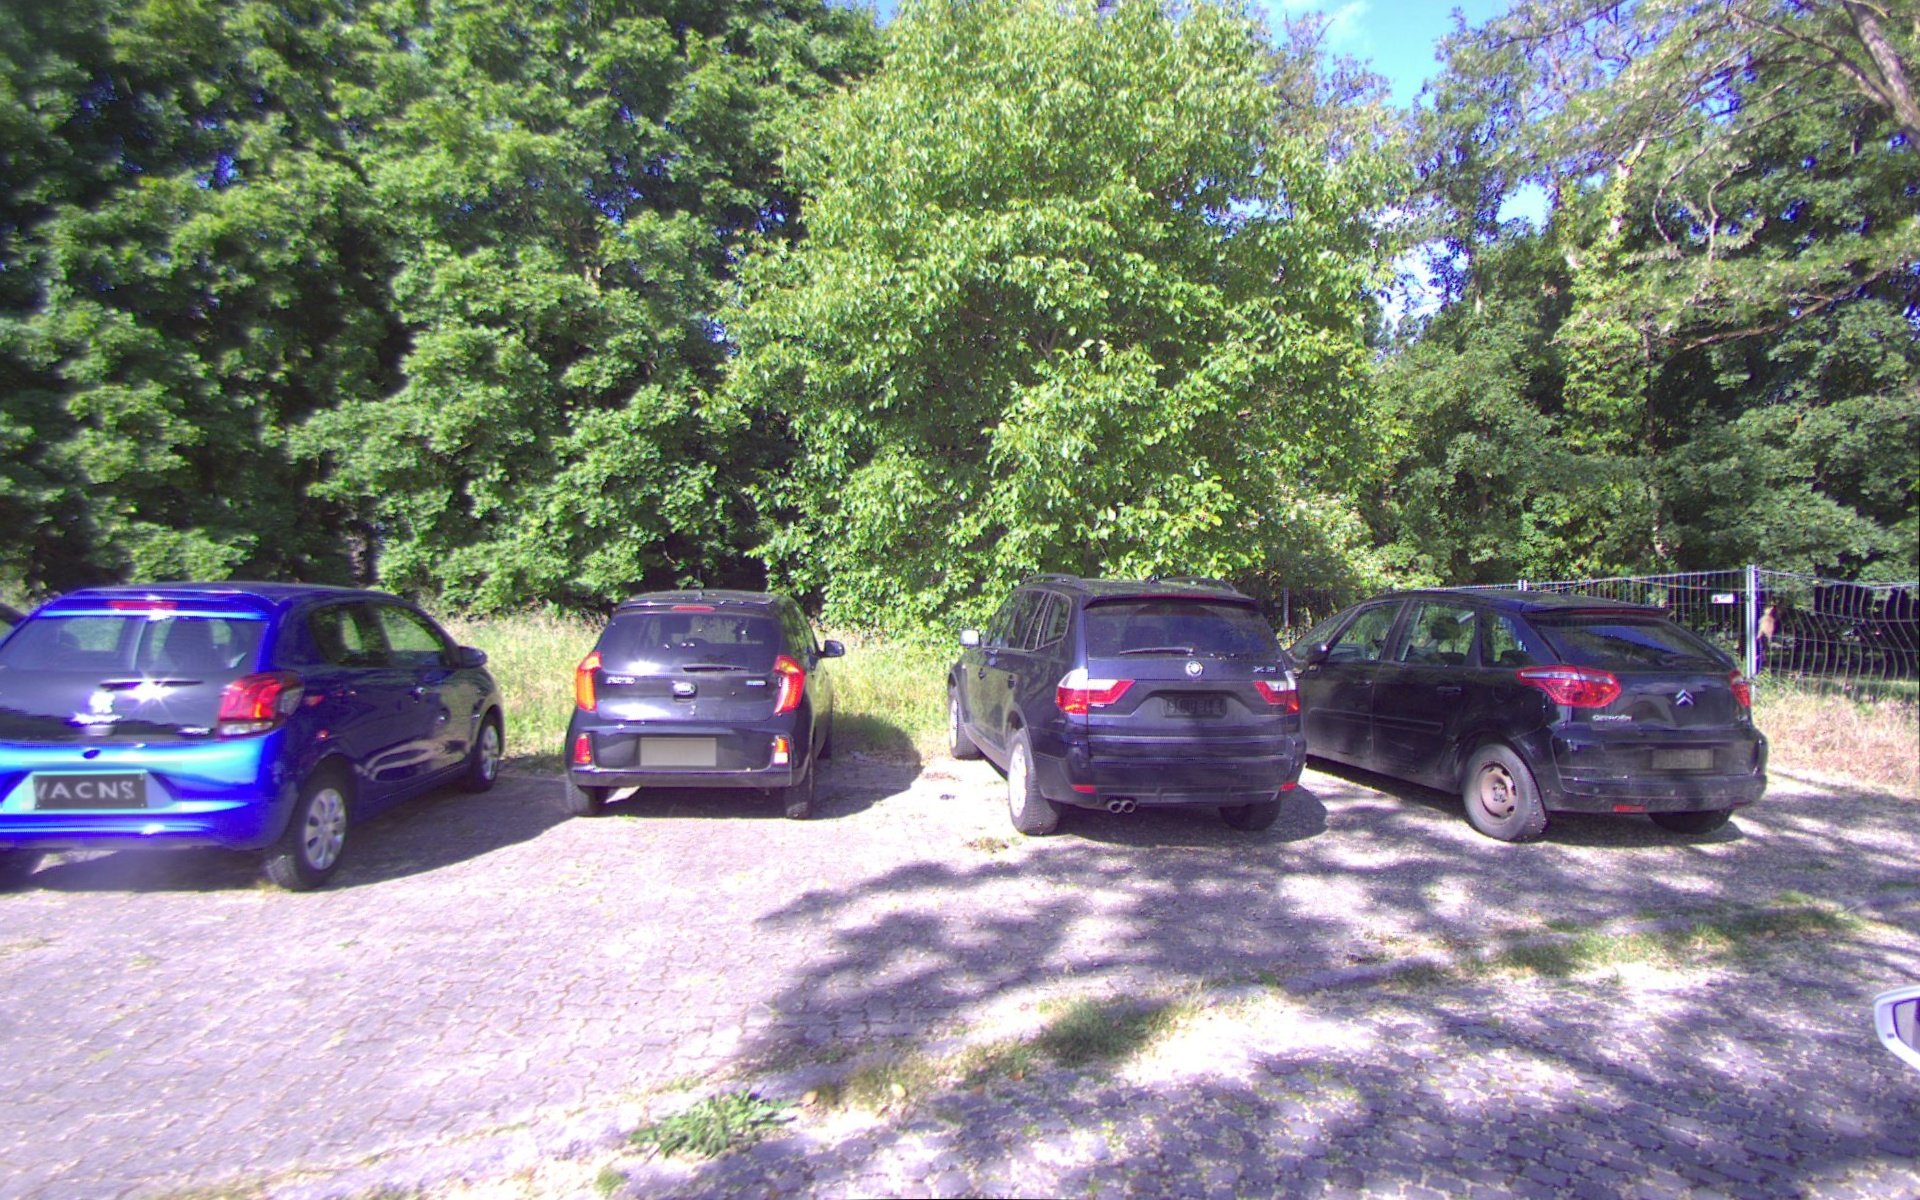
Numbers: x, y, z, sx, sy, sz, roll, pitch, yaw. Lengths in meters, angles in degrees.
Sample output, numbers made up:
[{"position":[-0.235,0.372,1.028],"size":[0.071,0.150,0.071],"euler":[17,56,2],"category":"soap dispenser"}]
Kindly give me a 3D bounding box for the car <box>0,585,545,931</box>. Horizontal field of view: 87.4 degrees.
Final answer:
[{"position":[-4.047,0.676,6.230],"size":[1.753,1.478,3.785],"euler":[1,0,-7],"category":"car"}]

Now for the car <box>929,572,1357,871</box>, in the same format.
[{"position":[1.017,0.640,7.856],"size":[1.847,1.653,4.264],"euler":[1,2,-11],"category":"car"}]

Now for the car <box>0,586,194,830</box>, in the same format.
[{"position":[-6.598,0.628,5.769],"size":[1.861,1.430,3.784],"euler":[1,0,-8],"category":"car"}]

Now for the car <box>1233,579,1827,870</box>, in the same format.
[{"position":[4.103,0.704,8.224],"size":[1.798,1.611,4.261],"euler":[0,3,-13],"category":"car"}]

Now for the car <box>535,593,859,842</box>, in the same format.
[{"position":[-1.772,0.707,7.934],"size":[1.711,1.470,3.723],"euler":[1,0,-3],"category":"car"}]
